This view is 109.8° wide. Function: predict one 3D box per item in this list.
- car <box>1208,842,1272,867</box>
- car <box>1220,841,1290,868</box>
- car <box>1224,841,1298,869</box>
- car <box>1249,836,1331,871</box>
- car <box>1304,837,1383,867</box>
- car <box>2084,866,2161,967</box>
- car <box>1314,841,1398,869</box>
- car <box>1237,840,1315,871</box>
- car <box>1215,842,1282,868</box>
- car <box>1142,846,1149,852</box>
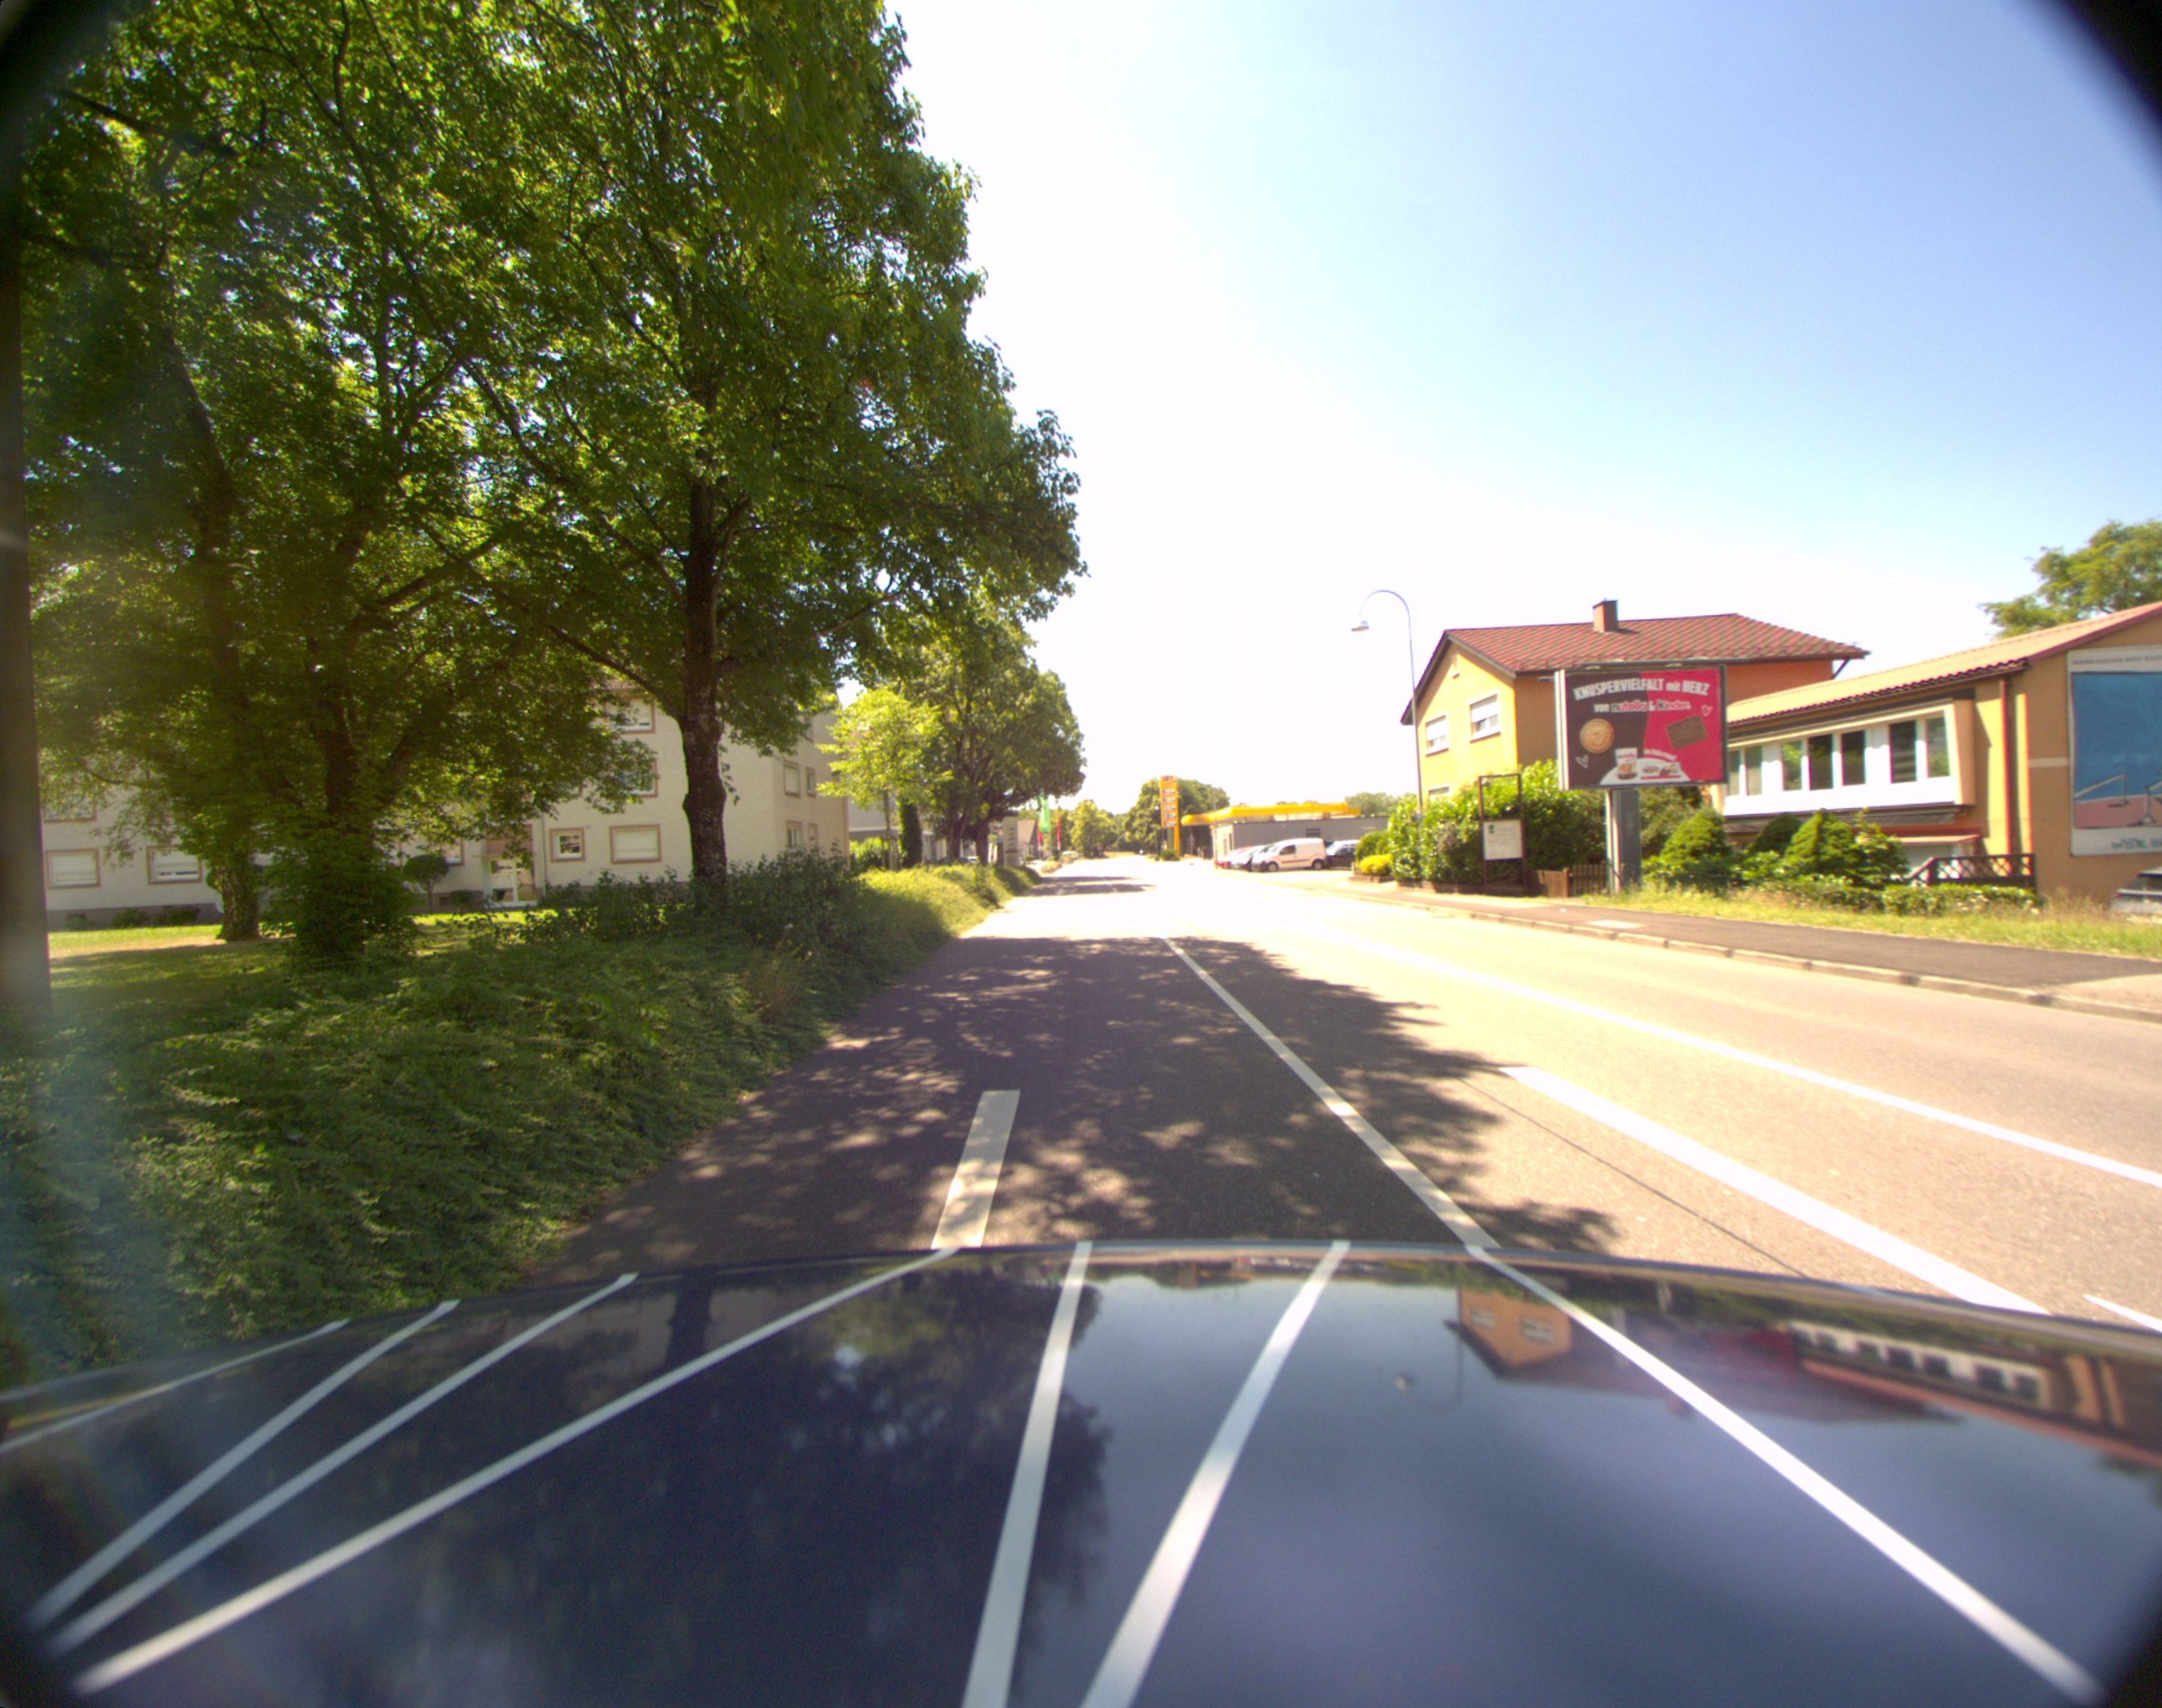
[{"bbox_3d":[12.080,0.016,58.003,4.402,1.750,1.874,-2,1,-5],"label":"car"},{"bbox_3d":[12.222,0.044,53.412,4.402,1.750,1.874,-2,1,-5],"label":"car"},{"bbox_3d":[12.054,0.077,51.059,4.402,1.750,1.874,-2,1,-5],"label":"car"},{"bbox_3d":[12.163,-0.029,44.422,4.191,1.858,1.874,-2,1,-5],"label":"car"},{"bbox_3d":[16.761,-0.140,48.590,4.402,1.815,1.874,-2,1,-5],"label":"car"},{"bbox_3d":[19.852,1.000,12.394,4.224,1.599,1.772,-1,1,7],"label":"car"},{"bbox_3d":[16.745,0.042,46.392,4.402,1.554,1.874,-2,1,-5],"label":"car"},{"bbox_3d":[11.899,0.100,46.558,4.246,1.750,1.874,-2,1,-5],"label":"car"},{"bbox_3d":[12.241,0.029,55.543,4.402,1.750,1.874,-2,1,-5],"label":"car"},{"bbox_3d":[18.906,-1.526,221.522,1.808,1.552,4.065,-2,1,7],"label":"car"}]
